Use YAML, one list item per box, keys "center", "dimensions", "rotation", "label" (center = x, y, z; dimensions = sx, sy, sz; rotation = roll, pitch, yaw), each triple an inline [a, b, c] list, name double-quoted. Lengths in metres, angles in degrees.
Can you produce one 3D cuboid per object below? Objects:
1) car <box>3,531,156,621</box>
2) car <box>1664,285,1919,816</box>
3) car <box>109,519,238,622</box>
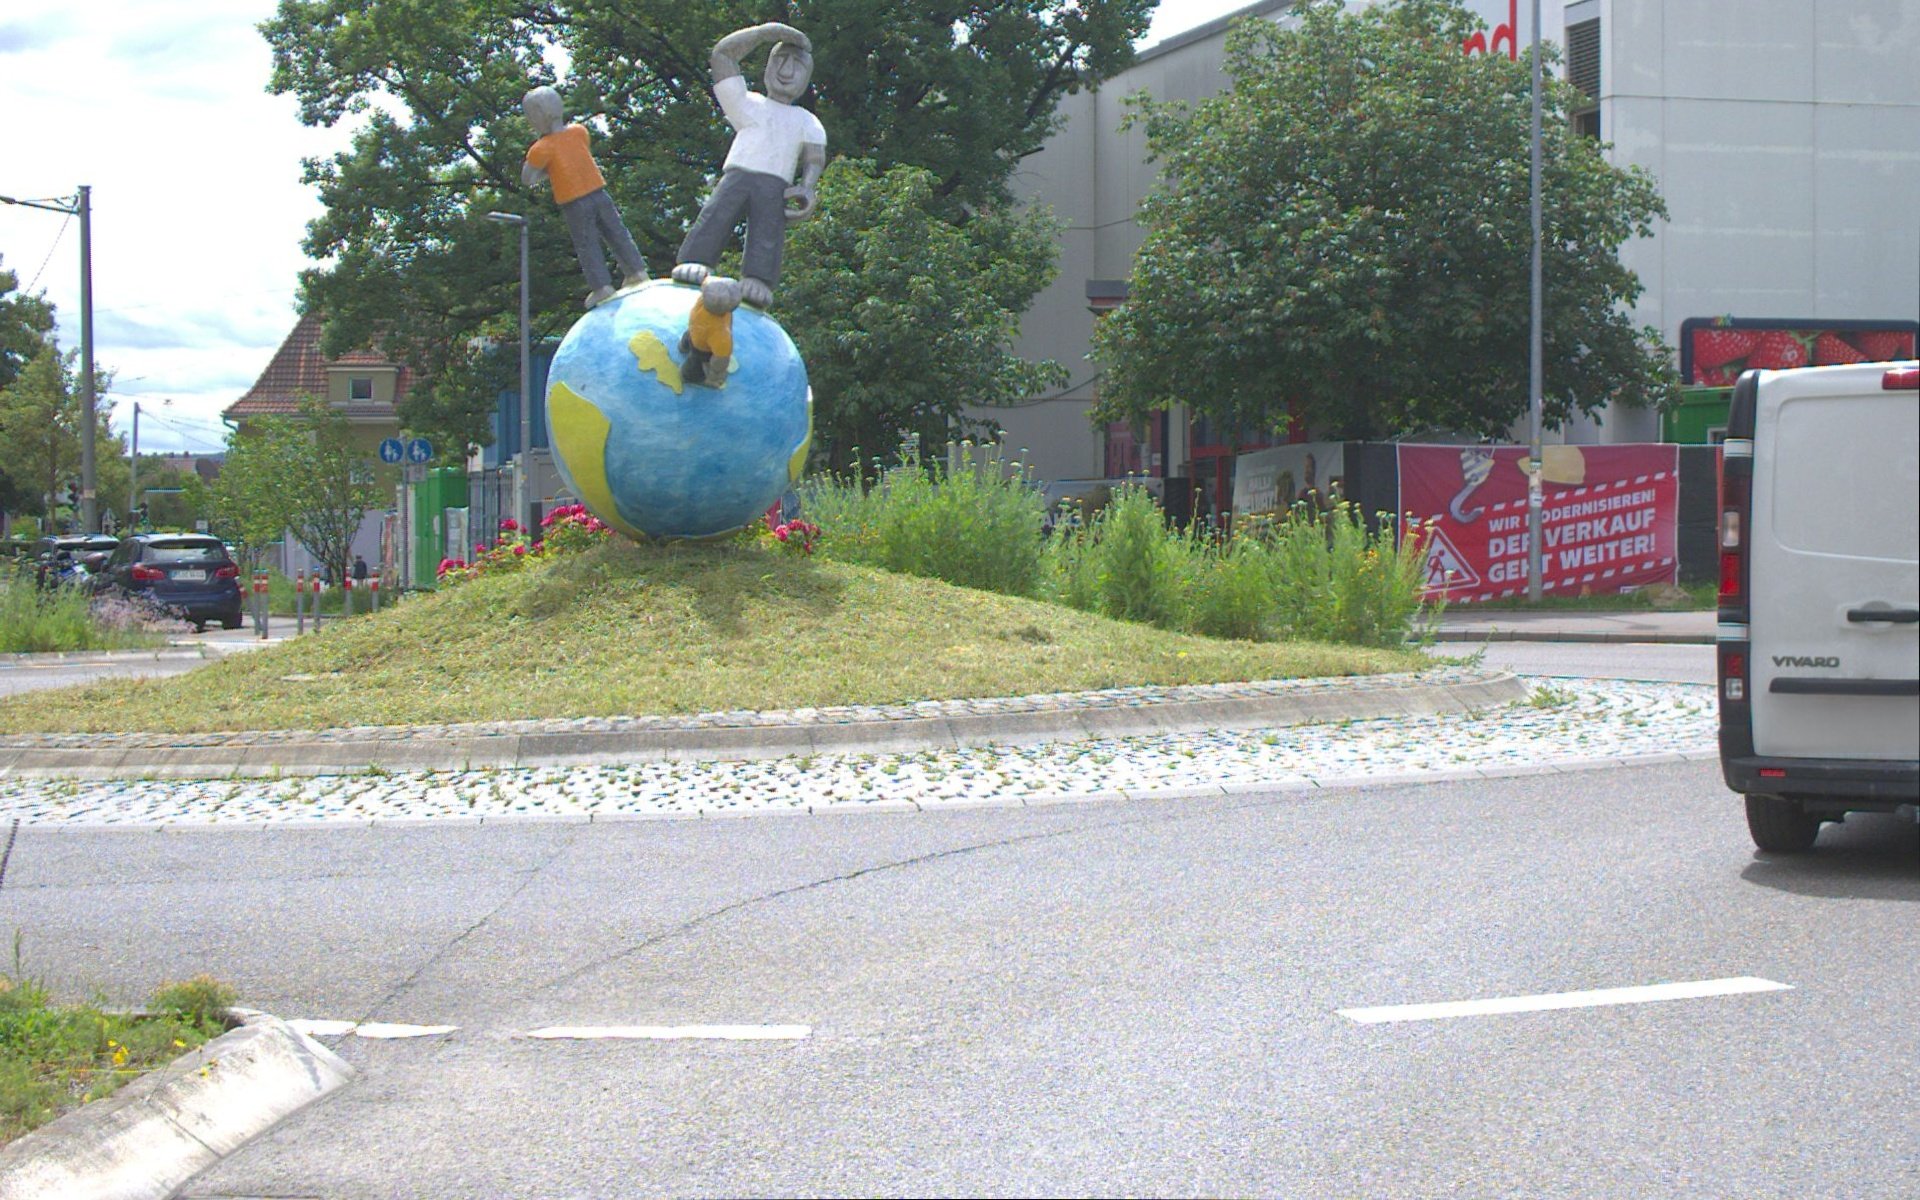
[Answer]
- center: [-15.968, -0.468, 62.241]
  dimensions: [1.919, 1.495, 3.926]
  rotation: [-1, 2, -26]
  label: "car"
- center: [4.693, -0.198, 14.732]
  dimensions: [2.037, 1.938, 4.986]
  rotation: [2, 2, 26]
  label: "car"
- center: [-12.626, -0.502, 55.046]
  dimensions: [1.932, 1.532, 3.926]
  rotation: [0, 2, -14]
  label: "car"
